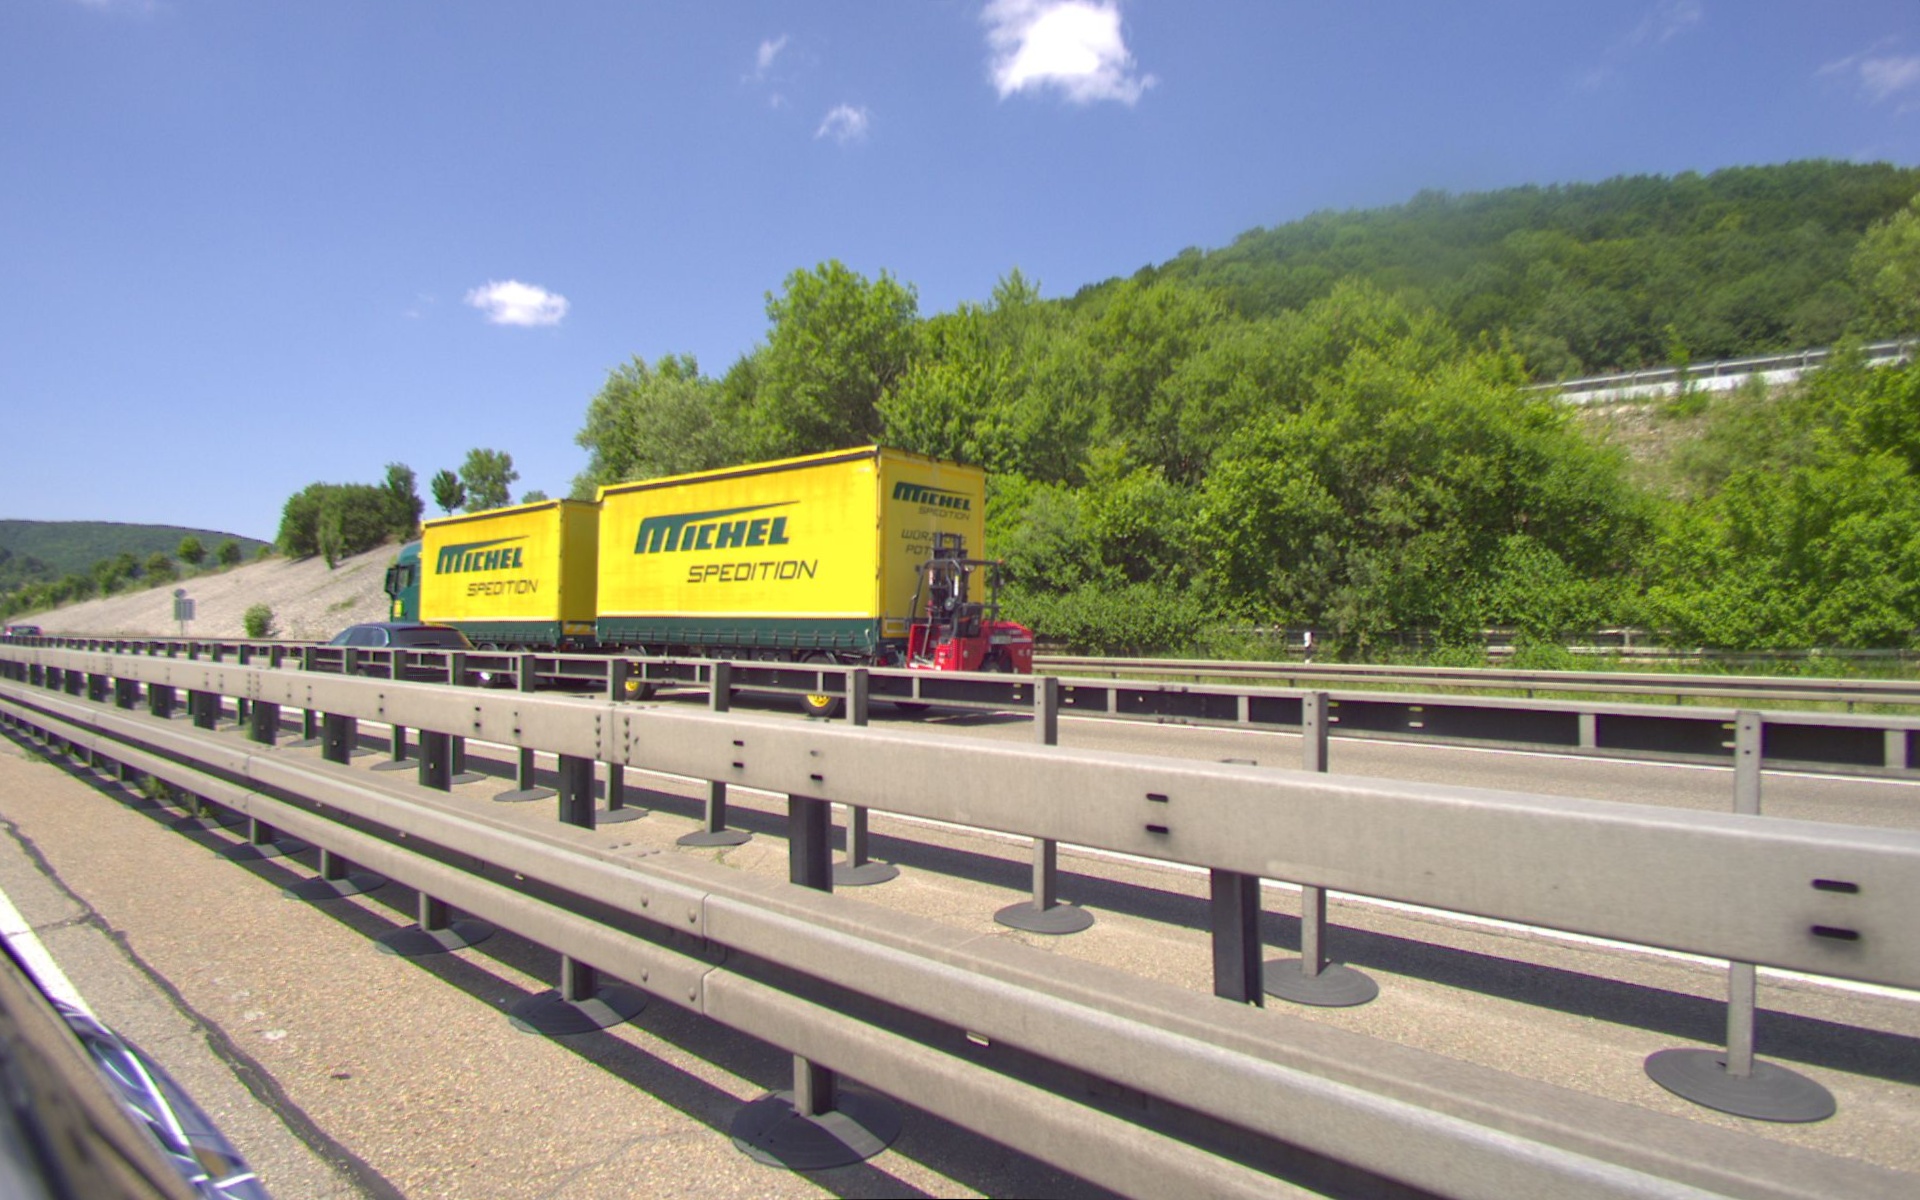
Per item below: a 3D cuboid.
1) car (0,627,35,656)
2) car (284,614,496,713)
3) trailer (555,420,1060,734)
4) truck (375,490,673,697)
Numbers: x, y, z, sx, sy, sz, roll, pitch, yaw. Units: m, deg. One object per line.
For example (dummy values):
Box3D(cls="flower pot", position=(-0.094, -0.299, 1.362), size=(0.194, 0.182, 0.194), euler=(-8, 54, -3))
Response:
Box3D(cls="car", position=(-49.272, 2.113, 52.317), size=(3.997, 1.445, 1.651), euler=(-1, -1, 40))
Box3D(cls="car", position=(-10.624, 1.098, 18.718), size=(4.747, 1.608, 1.827), euler=(-2, -2, 39))
Box3D(cls="trailer", position=(-3.298, -0.223, 17.951), size=(10.400, 4.178, 2.797), euler=(-1, -1, 41))
Box3D(cls="truck", position=(-10.937, -0.044, 24.662), size=(9.610, 4.178, 2.797), euler=(-1, -1, 41))
